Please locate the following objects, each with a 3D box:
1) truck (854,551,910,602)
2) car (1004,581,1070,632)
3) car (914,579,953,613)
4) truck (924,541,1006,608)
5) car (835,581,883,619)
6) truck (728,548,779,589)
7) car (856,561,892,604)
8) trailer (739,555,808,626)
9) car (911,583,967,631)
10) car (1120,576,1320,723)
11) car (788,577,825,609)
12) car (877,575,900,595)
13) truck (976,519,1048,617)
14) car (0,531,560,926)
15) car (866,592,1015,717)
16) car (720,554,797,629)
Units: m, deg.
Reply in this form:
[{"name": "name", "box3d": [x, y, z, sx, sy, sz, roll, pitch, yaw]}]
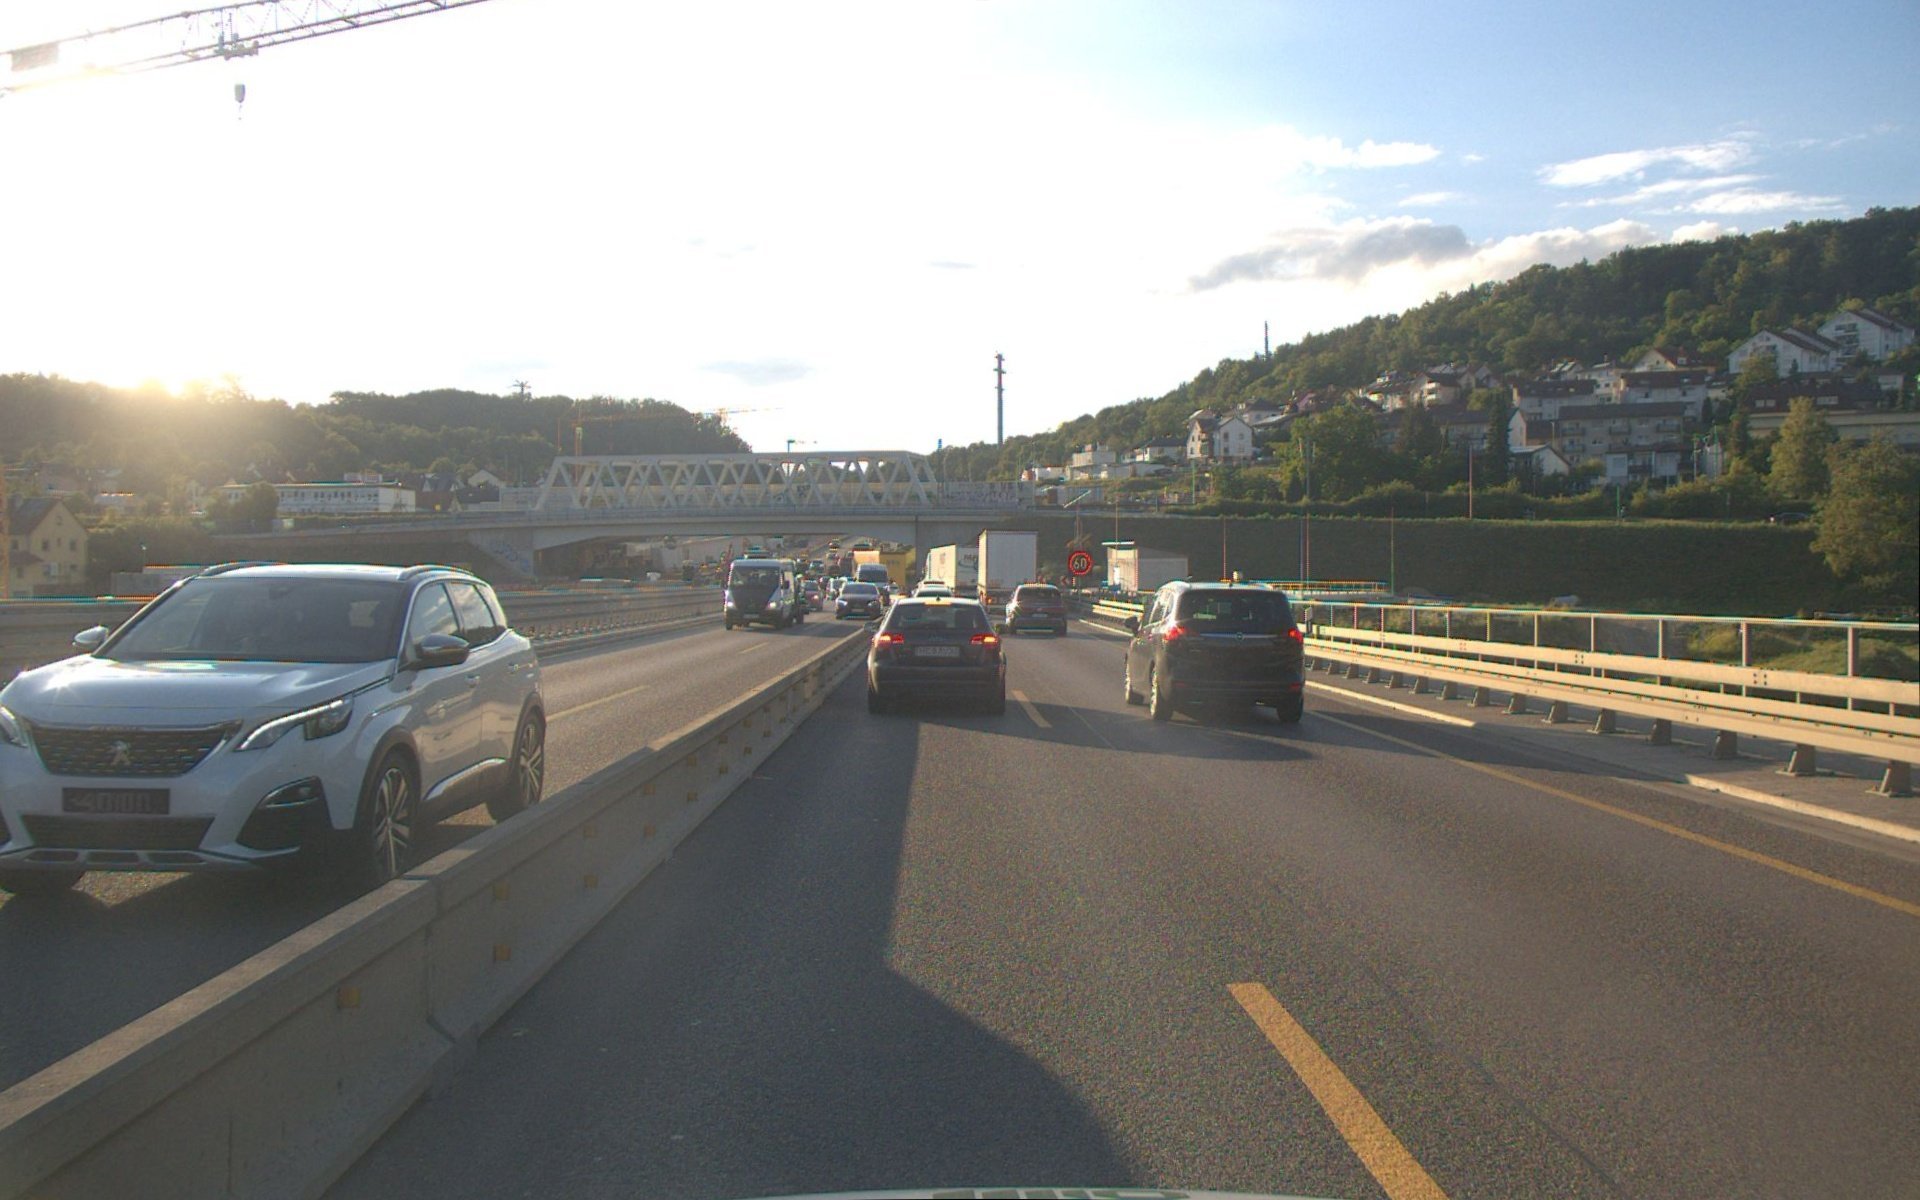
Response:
[{"name": "truck", "box3d": [-7.561, -2.353, 158.652, 3.819, 4.576, 13.821, 1, 2, -9]}, {"name": "car", "box3d": [2.505, 0.190, 54.609, 1.735, 1.579, 3.998, 2, 1, -3]}, {"name": "car", "box3d": [-1.287, -0.195, 78.365, 1.730, 1.512, 3.999, 2, 1, -2]}, {"name": "truck", "box3d": [0.198, -1.840, 121.872, 3.818, 4.577, 15.239, 1, 0, -8]}, {"name": "car", "box3d": [-4.324, -0.037, 71.255, 1.954, 1.556, 5.778, 1, 1, -3]}, {"name": "truck", "box3d": [-20.792, -3.181, 166.037, 2.887, 3.958, 10.203, 1, 1, -20]}, {"name": "car", "box3d": [-5.267, -1.098, 102.136, 2.031, 2.500, 6.265, 1, 1, -2]}, {"name": "trailer", "box3d": [-6.843, -0.364, 61.266, 2.035, 2.463, 5.217, 1, 1, -1]}, {"name": "car", "box3d": [-0.736, 0.199, 55.811, 1.730, 1.512, 3.998, 2, 1, -2]}, {"name": "car", "box3d": [3.197, 0.546, 21.173, 1.777, 1.661, 4.410, 1, 1, -1]}, {"name": "car", "box3d": [-7.773, -0.345, 84.006, 1.584, 1.579, 4.087, 0, 0, -1]}, {"name": "car", "box3d": [-5.827, -1.190, 133.803, 1.756, 1.566, 4.364, 1, 1, -4]}, {"name": "truck", "box3d": [2.561, -1.555, 86.125, 3.316, 4.577, 15.268, 1, 0, 1]}, {"name": "car", "box3d": [-3.552, 0.535, 9.057, 1.801, 1.668, 3.999, -1, 0, -1]}, {"name": "car", "box3d": [-0.288, 0.632, 21.511, 1.734, 1.414, 3.999, 1, 1, -2]}, {"name": "car", "box3d": [-6.730, -0.288, 55.703, 1.953, 2.364, 5.933, 1, 0, -1]}]
